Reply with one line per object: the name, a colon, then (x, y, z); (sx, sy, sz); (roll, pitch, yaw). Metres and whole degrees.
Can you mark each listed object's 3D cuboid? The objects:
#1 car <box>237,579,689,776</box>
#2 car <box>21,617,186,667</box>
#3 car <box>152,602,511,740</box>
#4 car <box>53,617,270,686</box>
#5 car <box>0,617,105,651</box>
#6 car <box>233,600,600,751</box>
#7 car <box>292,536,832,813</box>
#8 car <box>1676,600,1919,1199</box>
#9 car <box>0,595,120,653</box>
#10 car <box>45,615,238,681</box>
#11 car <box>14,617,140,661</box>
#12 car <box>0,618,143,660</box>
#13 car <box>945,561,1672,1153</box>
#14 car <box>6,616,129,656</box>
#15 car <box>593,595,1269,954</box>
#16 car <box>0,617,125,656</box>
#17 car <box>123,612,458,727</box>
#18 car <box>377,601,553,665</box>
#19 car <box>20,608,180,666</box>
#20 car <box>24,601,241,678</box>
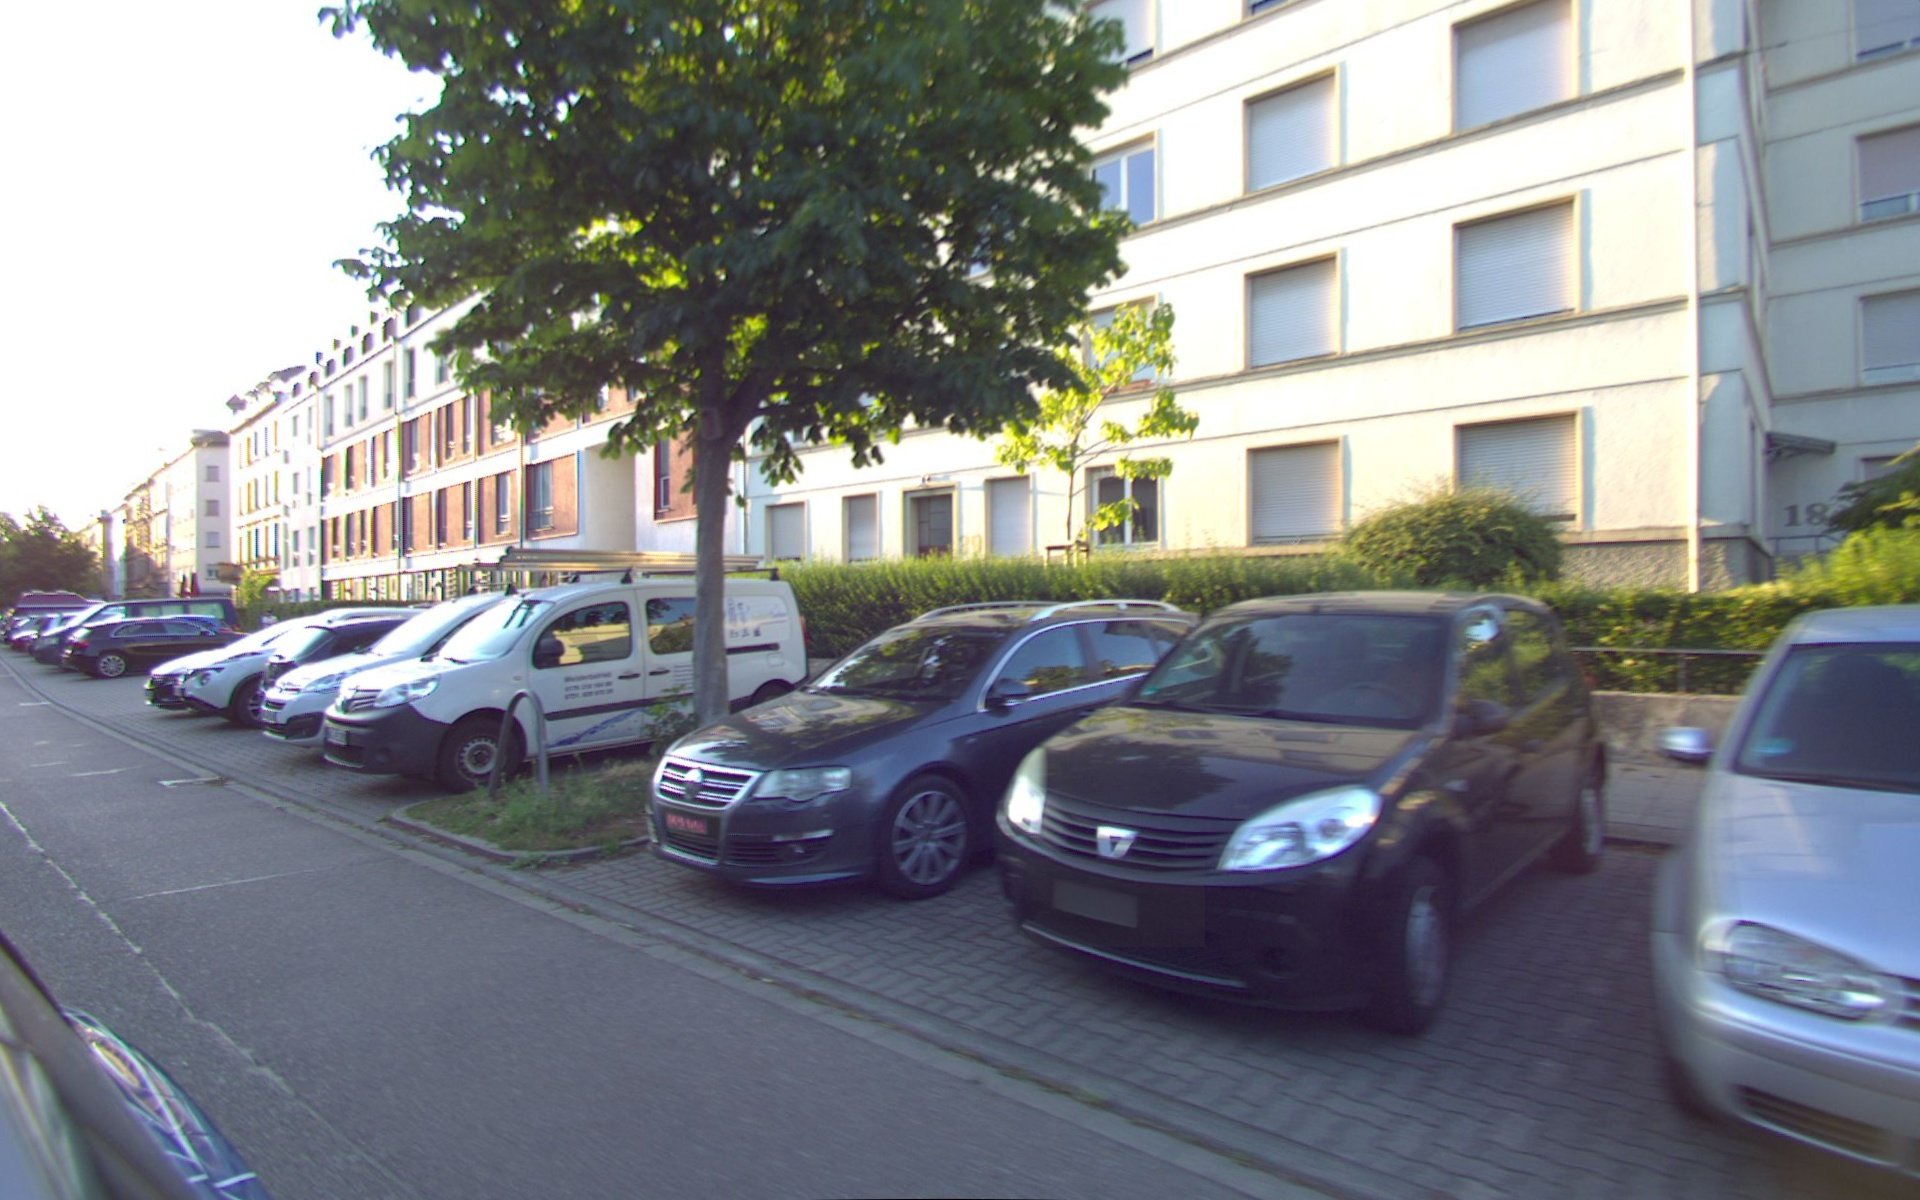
car: (-5.688, 0.733, 11.968); (1.944, 1.815, 4.371); (-2, 1, 45)
car: (-29.363, 1.392, 34.801); (2.049, 1.601, 3.952); (-1, -1, 35)
car: (-9.190, 0.928, 15.060); (1.813, 1.633, 4.197); (-2, 0, 43)
car: (-20.529, 1.264, 26.162); (1.737, 1.426, 4.098); (-1, 2, 39)
car: (-44.057, 1.618, 48.851); (1.802, 1.426, 3.940); (-1, 1, 38)
car: (-7.151, 0.877, 13.623); (1.755, 1.495, 3.946); (-2, 2, 42)
car: (-3.711, 0.504, 10.016); (4.461, 2.085, 2.001); (-4, 1, -44)
car: (3.478, 0.764, 3.032); (1.690, 1.517, 3.673); (-1, 0, 43)
car: (-42.201, 1.085, 47.337); (4.351, 2.576, 1.933); (0, 0, -45)
car: (-22.212, 1.249, 27.563); (1.653, 1.504, 3.844); (-1, 1, 41)
car: (-36.508, 1.567, 41.903); (3.841, 1.629, 1.701); (-1, 0, -44)
car: (-34.940, 1.498, 39.783); (1.789, 1.505, 4.214); (-1, 0, 45)
car: (1.932, 0.694, 4.764); (1.729, 1.595, 3.942); (-1, 0, 44)
car: (-38.491, 1.520, 43.699); (3.902, 1.551, 1.757); (-1, 0, -44)
car: (0.112, 0.752, 6.545); (1.852, 1.416, 4.278); (-1, 1, 44)
car: (-40.234, 1.593, 45.282); (1.706, 1.536, 4.288); (-1, 0, 44)
car: (-11.162, 1.058, 17.131); (1.827, 1.462, 4.363); (-1, 2, 41)
car: (-13.770, 0.872, 28.314); (1.997, 1.646, 3.949); (-1, 0, 38)
car: (-30.862, 1.279, 36.391); (1.896, 1.910, 4.136); (-1, 0, 39)
car: (-24.135, 1.072, 29.654); (4.798, 2.070, 2.002); (0, -1, -44)
